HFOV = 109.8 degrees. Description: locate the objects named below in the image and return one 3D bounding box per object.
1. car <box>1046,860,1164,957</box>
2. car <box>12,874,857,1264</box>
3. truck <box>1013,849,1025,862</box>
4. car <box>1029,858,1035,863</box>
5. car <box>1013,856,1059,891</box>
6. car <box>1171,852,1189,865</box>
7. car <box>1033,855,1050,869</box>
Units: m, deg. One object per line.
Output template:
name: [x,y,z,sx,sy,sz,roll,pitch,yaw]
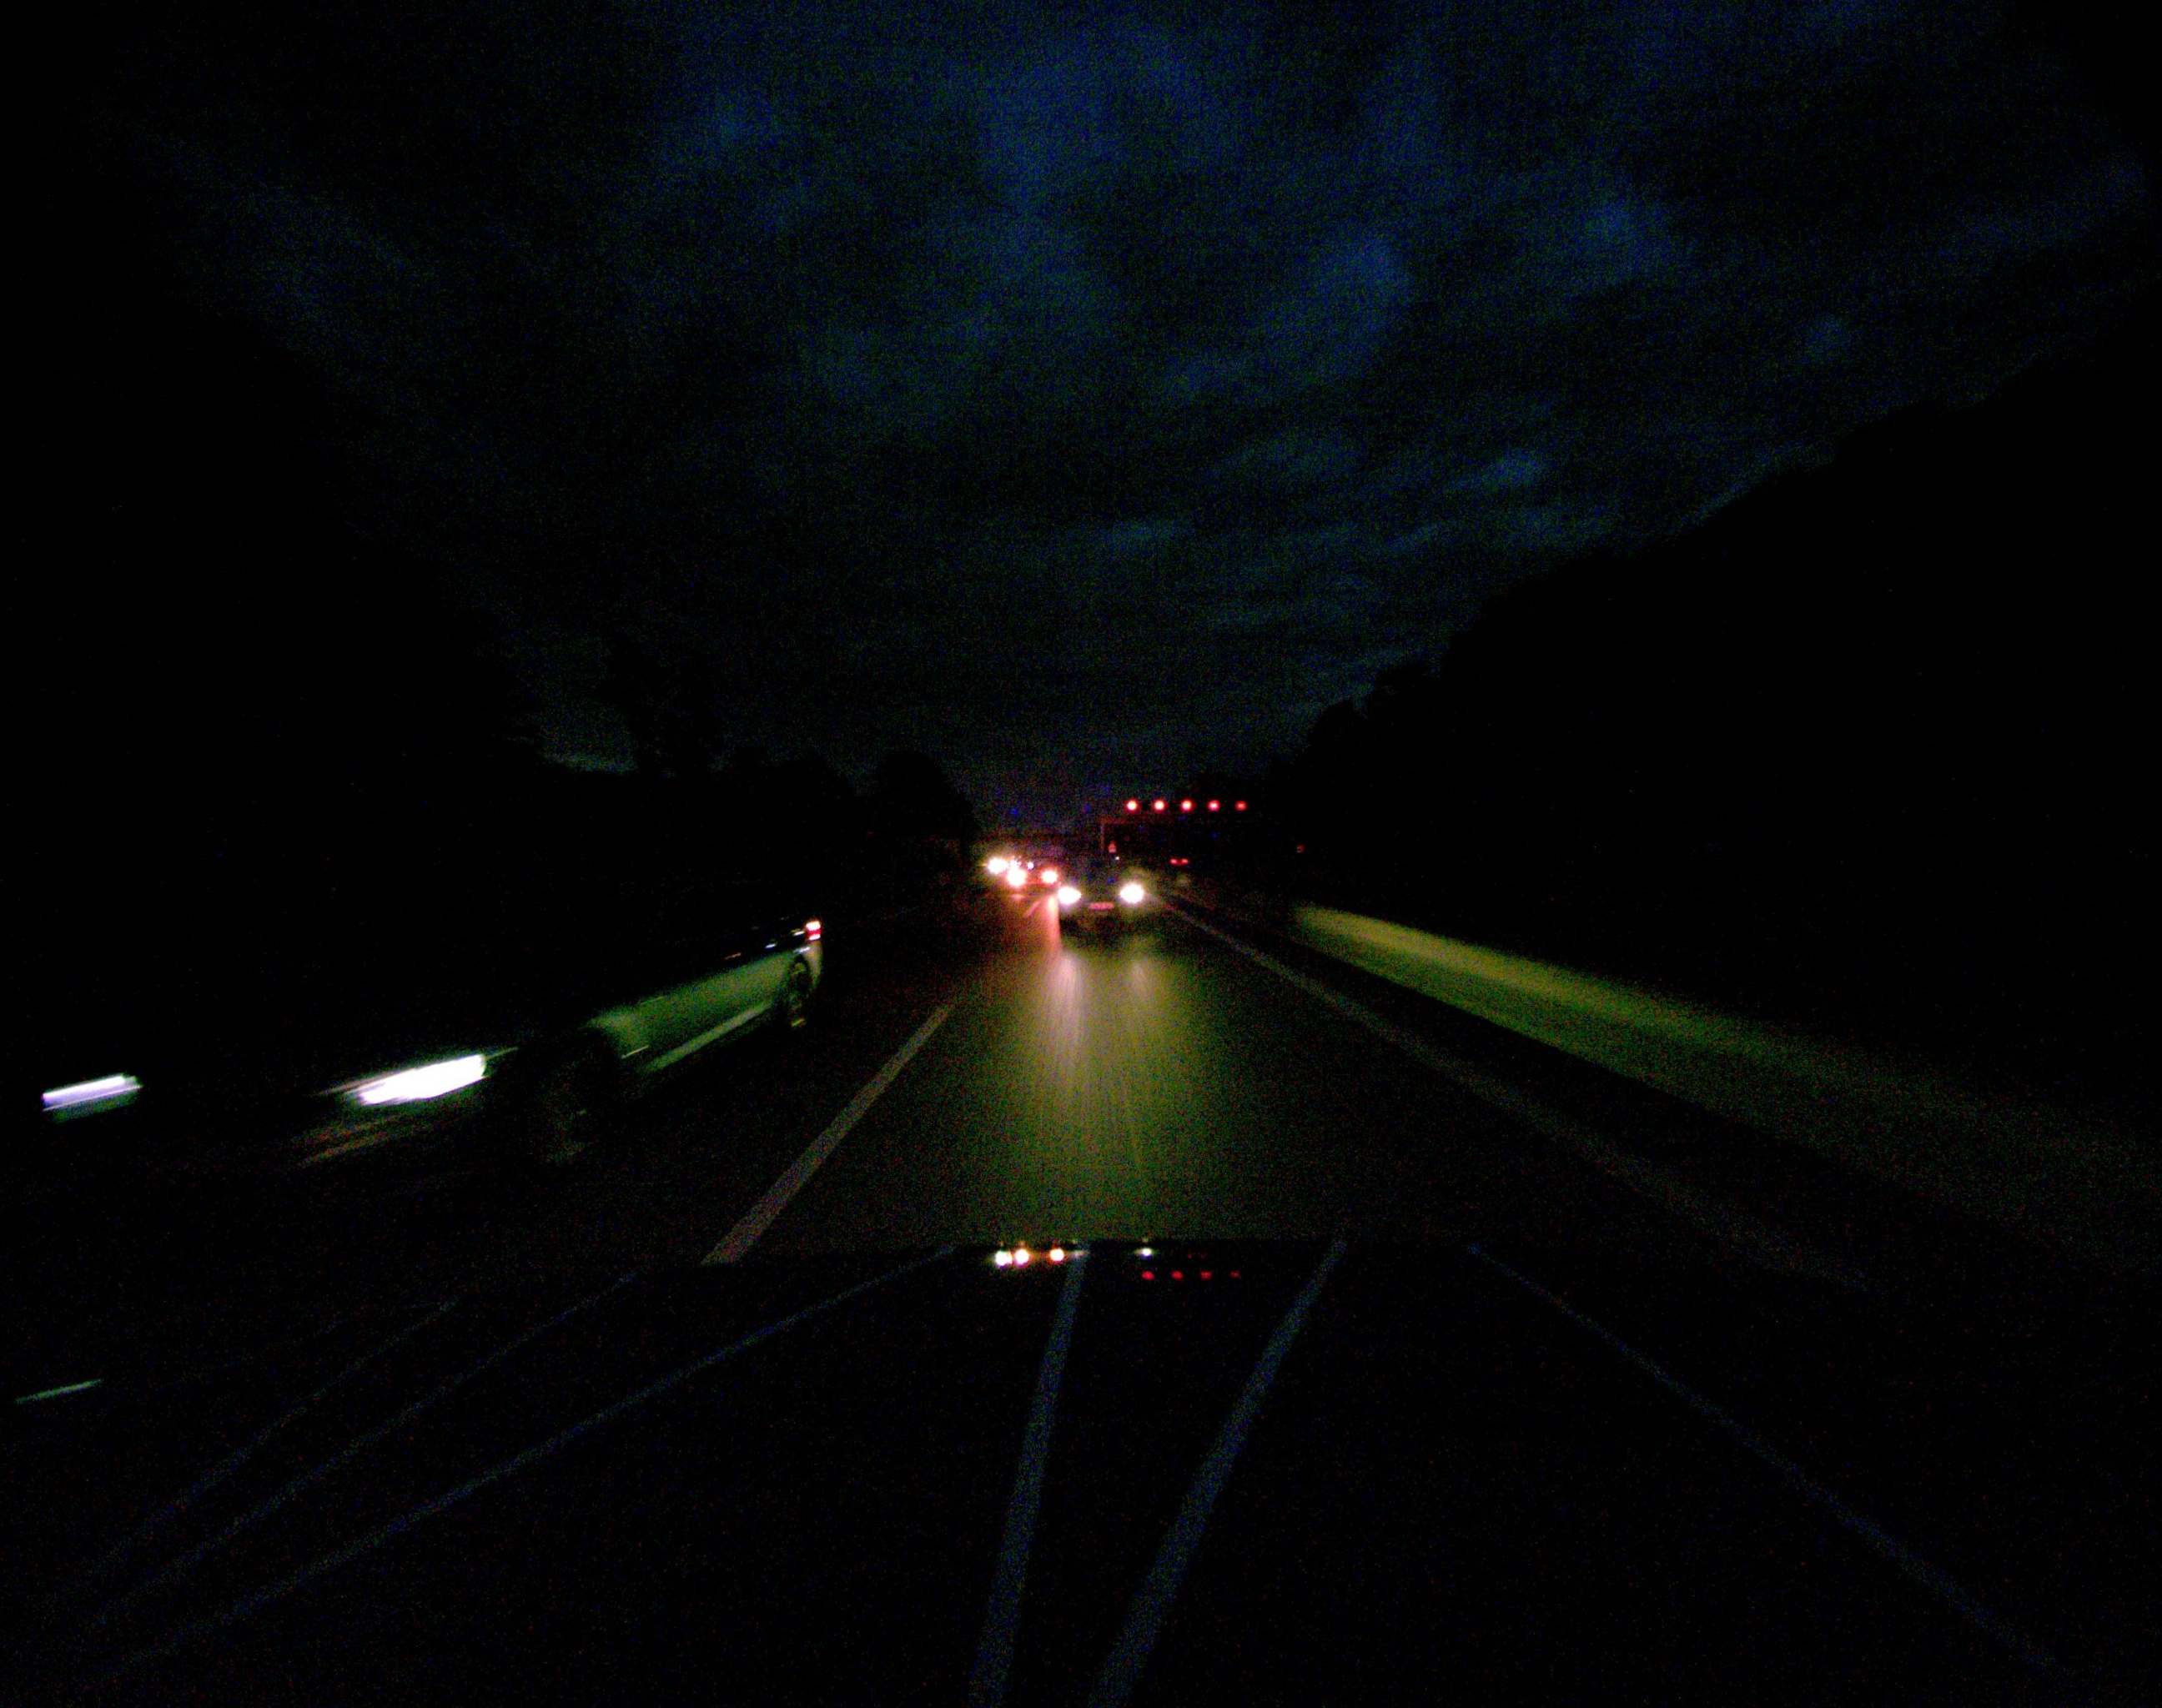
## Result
car: [0.464,0.899,14.478,1.879,1.435,4.451,-1,1,2]
car: [-3.425,0.947,5.734,1.914,1.528,5.232,-1,-1,0]
truck: [-20.068,0.473,244.261,3.147,3.986,10.538,-1,-1,-8]
car: [-16.202,2.138,250.364,1.820,1.372,4.196,-2,-1,-8]
car: [-1.995,0.842,35.245,1.813,1.457,5.131,-1,0,0]
car: [11.856,0.528,91.132,1.623,1.397,4.315,-1,0,-1]
car: [-4.714,0.983,91.087,1.999,1.539,4.000,-1,-1,-2]
